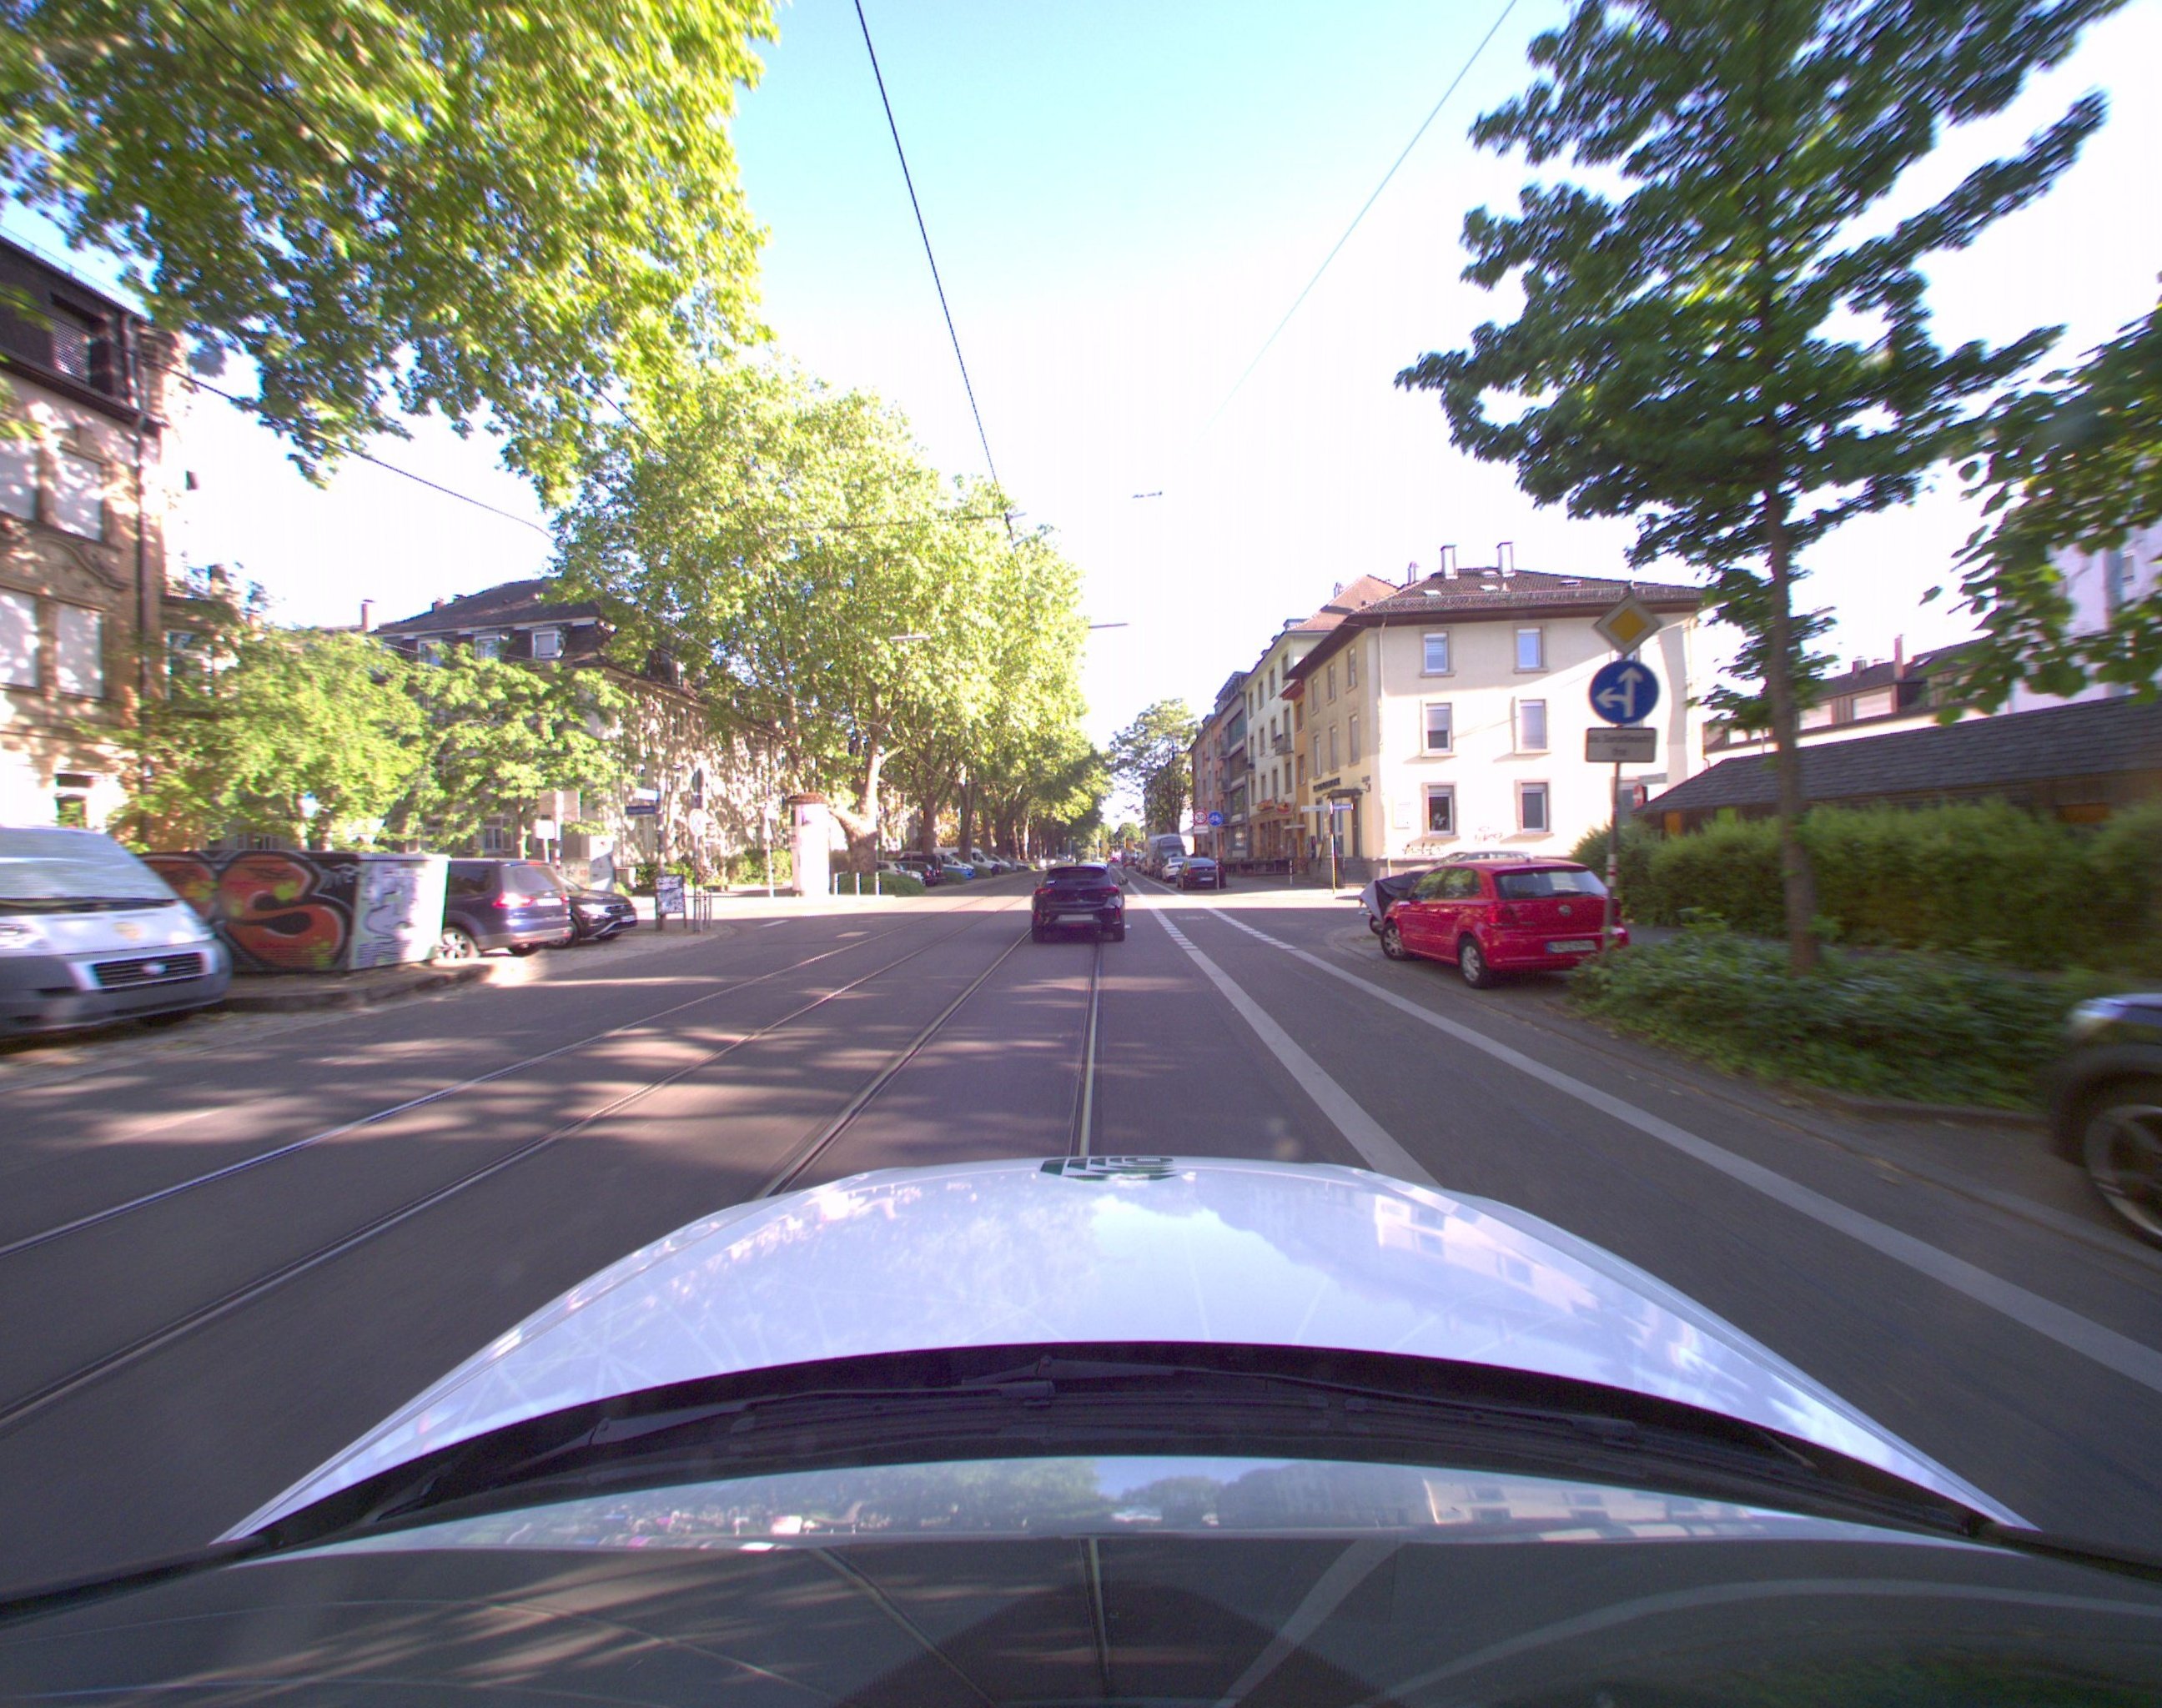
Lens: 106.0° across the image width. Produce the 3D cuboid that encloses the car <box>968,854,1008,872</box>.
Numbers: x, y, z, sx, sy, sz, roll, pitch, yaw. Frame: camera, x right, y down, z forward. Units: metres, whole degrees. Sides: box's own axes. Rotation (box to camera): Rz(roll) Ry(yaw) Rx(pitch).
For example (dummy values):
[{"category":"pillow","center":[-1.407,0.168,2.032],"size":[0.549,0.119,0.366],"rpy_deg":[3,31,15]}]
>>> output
[{"category":"car","center":[-9.986,0.947,87.207],"size":[4.173,1.794,1.995],"rpy_deg":[0,0,-8]}]

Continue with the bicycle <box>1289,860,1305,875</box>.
[{"category":"bicycle","center":[11.185,0.695,42.204],"size":[0.408,0.789,1.792],"rpy_deg":[0,0,2]}]

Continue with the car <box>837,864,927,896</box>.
[{"category":"car","center":[-10.334,1.328,42.605],"size":[4.294,1.290,1.707],"rpy_deg":[-5,0,-6]}]

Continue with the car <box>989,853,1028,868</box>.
[{"category":"car","center":[-8.230,0.752,92.704],"size":[4.351,1.665,1.995],"rpy_deg":[0,0,-8]}]

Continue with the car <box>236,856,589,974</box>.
[{"category":"car","center":[-11.055,0.955,13.741],"size":[4.287,1.801,1.925],"rpy_deg":[-1,0,-1]}]

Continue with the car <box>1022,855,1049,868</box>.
[{"category":"car","center":[-7.207,1.244,128.927],"size":[3.965,2.014,2.004],"rpy_deg":[0,0,8]}]

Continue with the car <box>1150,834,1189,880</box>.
[{"category":"car","center":[5.833,0.176,53.976],"size":[2.077,2.772,4.699],"rpy_deg":[-2,0,2]}]

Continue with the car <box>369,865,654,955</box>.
[{"category":"car","center":[-11.249,1.061,16.332],"size":[4.287,1.607,1.925],"rpy_deg":[-1,0,-1]}]

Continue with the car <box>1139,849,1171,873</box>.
[{"category":"car","center":[6.137,0.573,67.739],"size":[2.246,1.840,5.533],"rpy_deg":[-2,0,2]}]

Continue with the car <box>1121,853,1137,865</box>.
[{"category":"car","center":[7.714,0.845,130.792],"size":[2.246,1.840,5.533],"rpy_deg":[-2,0,2]}]

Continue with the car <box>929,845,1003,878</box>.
[{"category":"car","center":[-9.324,0.593,66.378],"size":[5.611,2.593,2.199],"rpy_deg":[0,0,5]}]

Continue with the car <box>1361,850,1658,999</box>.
[{"category":"car","center":[5.166,0.751,10.515],"size":[1.697,1.423,3.979],"rpy_deg":[-5,0,1]}]

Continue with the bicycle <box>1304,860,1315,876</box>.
[{"category":"bicycle","center":[11.490,0.687,41.016],"size":[0.471,0.789,1.798],"rpy_deg":[-1,0,13]}]

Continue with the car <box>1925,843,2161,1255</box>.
[{"category":"car","center":[4.907,0.709,1.871],"size":[1.706,1.514,4.036],"rpy_deg":[-3,0,0]}]

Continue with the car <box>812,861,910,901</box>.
[{"category":"car","center":[-10.738,1.308,39.993],"size":[4.294,1.593,1.778],"rpy_deg":[-5,-1,-6]}]

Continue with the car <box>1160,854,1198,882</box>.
[{"category":"car","center":[5.579,0.811,46.769],"size":[1.797,1.434,4.001],"rpy_deg":[-2,-1,2]}]

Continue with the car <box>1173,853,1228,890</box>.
[{"category":"car","center":[5.299,0.752,36.675],"size":[1.877,1.434,4.532],"rpy_deg":[-4,0,2]}]

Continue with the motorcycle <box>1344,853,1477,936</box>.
[{"category":"motorcycle","center":[5.871,0.724,14.655],"size":[2.073,1.358,0.928],"rpy_deg":[-3,-1,18]}]

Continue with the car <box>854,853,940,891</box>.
[{"category":"car","center":[-10.021,0.990,44.636],"size":[4.294,1.674,1.778],"rpy_deg":[-5,-1,-6]}]

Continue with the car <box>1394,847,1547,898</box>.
[{"category":"car","center":[12.738,0.594,26.848],"size":[4.167,1.598,1.893],"rpy_deg":[-1,0,5]}]

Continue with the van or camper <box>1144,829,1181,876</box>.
[{"category":"van or camper","center":[6.000,-0.073,60.543],"size":[2.246,3.216,5.533],"rpy_deg":[-2,0,2]}]

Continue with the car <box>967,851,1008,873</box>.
[{"category":"car","center":[-9.117,0.766,79.411],"size":[3.984,2.014,1.995],"rpy_deg":[0,0,-8]}]

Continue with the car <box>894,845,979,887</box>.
[{"category":"car","center":[-9.470,0.781,53.657],"size":[5.017,2.374,2.082],"rpy_deg":[-5,-1,1]}]

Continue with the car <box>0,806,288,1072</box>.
[{"category":"car","center":[-11.289,0.741,7.899],"size":[5.019,2.259,2.084],"rpy_deg":[0,0,-2]}]

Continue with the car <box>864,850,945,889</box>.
[{"category":"car","center":[-10.120,0.891,46.969],"size":[4.294,1.840,1.778],"rpy_deg":[-5,-1,-6]}]

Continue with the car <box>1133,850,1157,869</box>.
[{"category":"car","center":[6.958,0.592,88.819],"size":[2.246,1.840,5.533],"rpy_deg":[-2,0,2]}]

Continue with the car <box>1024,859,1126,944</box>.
[{"category":"car","center":[-0.037,0.834,16.090],"size":[1.756,1.460,3.952],"rpy_deg":[0,0,2]}]

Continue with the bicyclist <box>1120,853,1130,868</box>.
[{"category":"bicyclist","center":[4.424,0.686,82.263],"size":[0.955,1.499,1.094],"rpy_deg":[0,0,0]}]

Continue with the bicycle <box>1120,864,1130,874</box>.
[{"category":"bicycle","center":[4.444,1.495,82.303],"size":[0.964,0.999,2.583],"rpy_deg":[0,0,0]}]
